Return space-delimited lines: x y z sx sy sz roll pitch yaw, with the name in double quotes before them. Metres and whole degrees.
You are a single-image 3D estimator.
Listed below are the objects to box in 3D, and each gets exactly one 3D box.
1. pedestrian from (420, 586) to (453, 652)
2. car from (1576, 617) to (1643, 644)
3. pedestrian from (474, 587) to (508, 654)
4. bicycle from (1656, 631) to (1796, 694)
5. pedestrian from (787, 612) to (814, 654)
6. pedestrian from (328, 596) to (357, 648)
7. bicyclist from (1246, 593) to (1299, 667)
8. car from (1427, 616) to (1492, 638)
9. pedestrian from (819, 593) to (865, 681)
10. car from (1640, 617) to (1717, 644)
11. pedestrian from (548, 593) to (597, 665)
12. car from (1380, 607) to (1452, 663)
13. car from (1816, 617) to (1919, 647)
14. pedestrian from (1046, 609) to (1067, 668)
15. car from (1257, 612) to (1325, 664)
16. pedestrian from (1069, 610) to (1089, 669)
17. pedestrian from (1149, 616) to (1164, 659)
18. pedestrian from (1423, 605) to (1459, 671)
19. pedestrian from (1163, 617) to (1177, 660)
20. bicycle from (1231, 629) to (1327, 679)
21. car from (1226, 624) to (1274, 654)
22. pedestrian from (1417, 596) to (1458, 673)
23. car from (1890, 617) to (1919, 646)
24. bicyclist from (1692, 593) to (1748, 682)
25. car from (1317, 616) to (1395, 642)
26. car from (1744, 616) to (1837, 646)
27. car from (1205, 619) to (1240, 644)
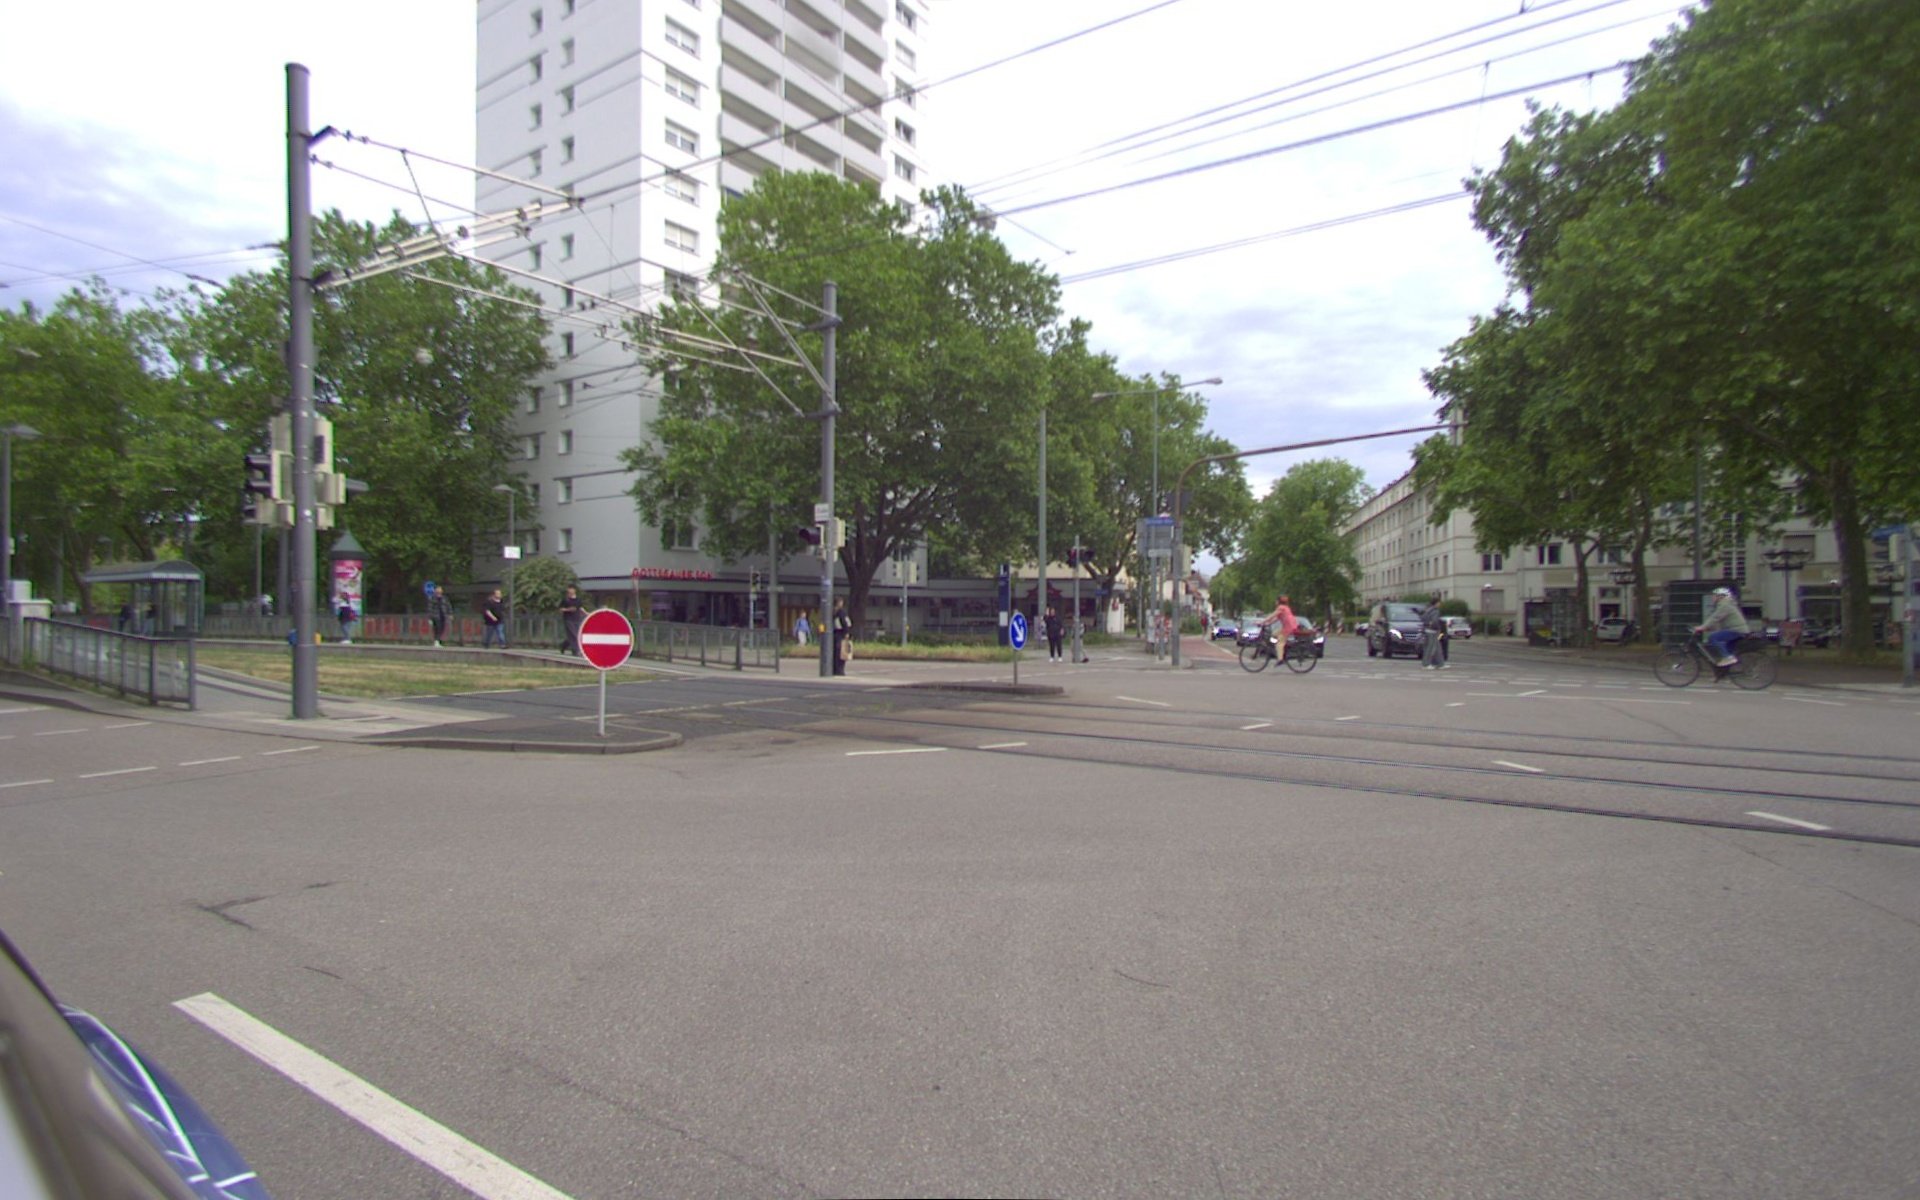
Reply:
"pedestrian" -14.535 0.523 28.081 0.533 1.803 0.615 -1 0 36
"car" 36.017 1.669 56.259 1.984 1.400 4.803 -1 -1 18
"pedestrian" -12.604 0.538 27.216 0.547 1.764 0.615 -1 0 36
"bicycle" 13.847 1.115 18.373 1.988 1.072 0.720 -1 -3 36
"pedestrian" -5.968 1.222 37.884 0.853 1.520 0.547 -1 0 42
"pedestrian" -20.238 0.703 33.178 0.564 1.681 0.615 -1 0 36
"bicyclist" 7.159 0.695 23.166 0.992 1.650 0.700 -1 -3 35
"car" 34.287 1.839 69.643 1.772 1.497 4.011 0 -1 -15
"pedestrian" -2.430 0.755 20.856 0.626 1.763 0.648 -1 0 37
"car" 38.345 1.592 54.171 1.984 1.400 4.803 -1 -1 18
"pedestrian" -9.451 0.687 24.691 0.877 1.708 0.734 -1 0 36
"car" 15.084 1.176 33.416 1.904 1.732 3.703 -1 -3 28
"car" 44.634 1.530 49.932 1.984 1.400 4.803 -1 -1 18
"pedestrian" 2.710 1.080 28.482 0.517 1.624 0.526 -1 0 3
"car" 11.641 1.358 35.497 1.656 1.732 3.703 -1 -3 28
"pedestrian" 3.309 1.083 28.130 0.498 1.624 0.366 -1 0 3
"pedestrian" 6.321 1.209 32.558 0.412 1.375 0.390 -1 0 8
"pedestrian" 12.677 0.993 26.659 0.753 1.703 0.798 -1 -1 31
"pedestrian" 6.820 1.241 32.883 0.412 1.375 0.390 -1 0 8
"bicycle" 7.259 1.221 23.073 1.988 1.072 0.721 -1 -3 35
"car" 14.635 1.935 51.260 1.741 1.431 3.990 0 -1 8
"pedestrian" 12.033 0.852 25.505 0.679 1.900 0.689 -1 0 0
"car" 46.944 1.509 48.196 2.066 1.400 4.803 -1 -1 18
"bicyclist" 13.772 0.686 18.359 0.755 1.574 0.578 -1 -3 35
"car" 27.110 1.962 69.298 4.809 1.676 1.981 -1 -1 28
"car" 41.611 1.536 50.860 1.984 1.400 4.803 -1 -1 18
"car" 17.944 2.136 69.235 1.913 1.697 3.989 0 -1 9
